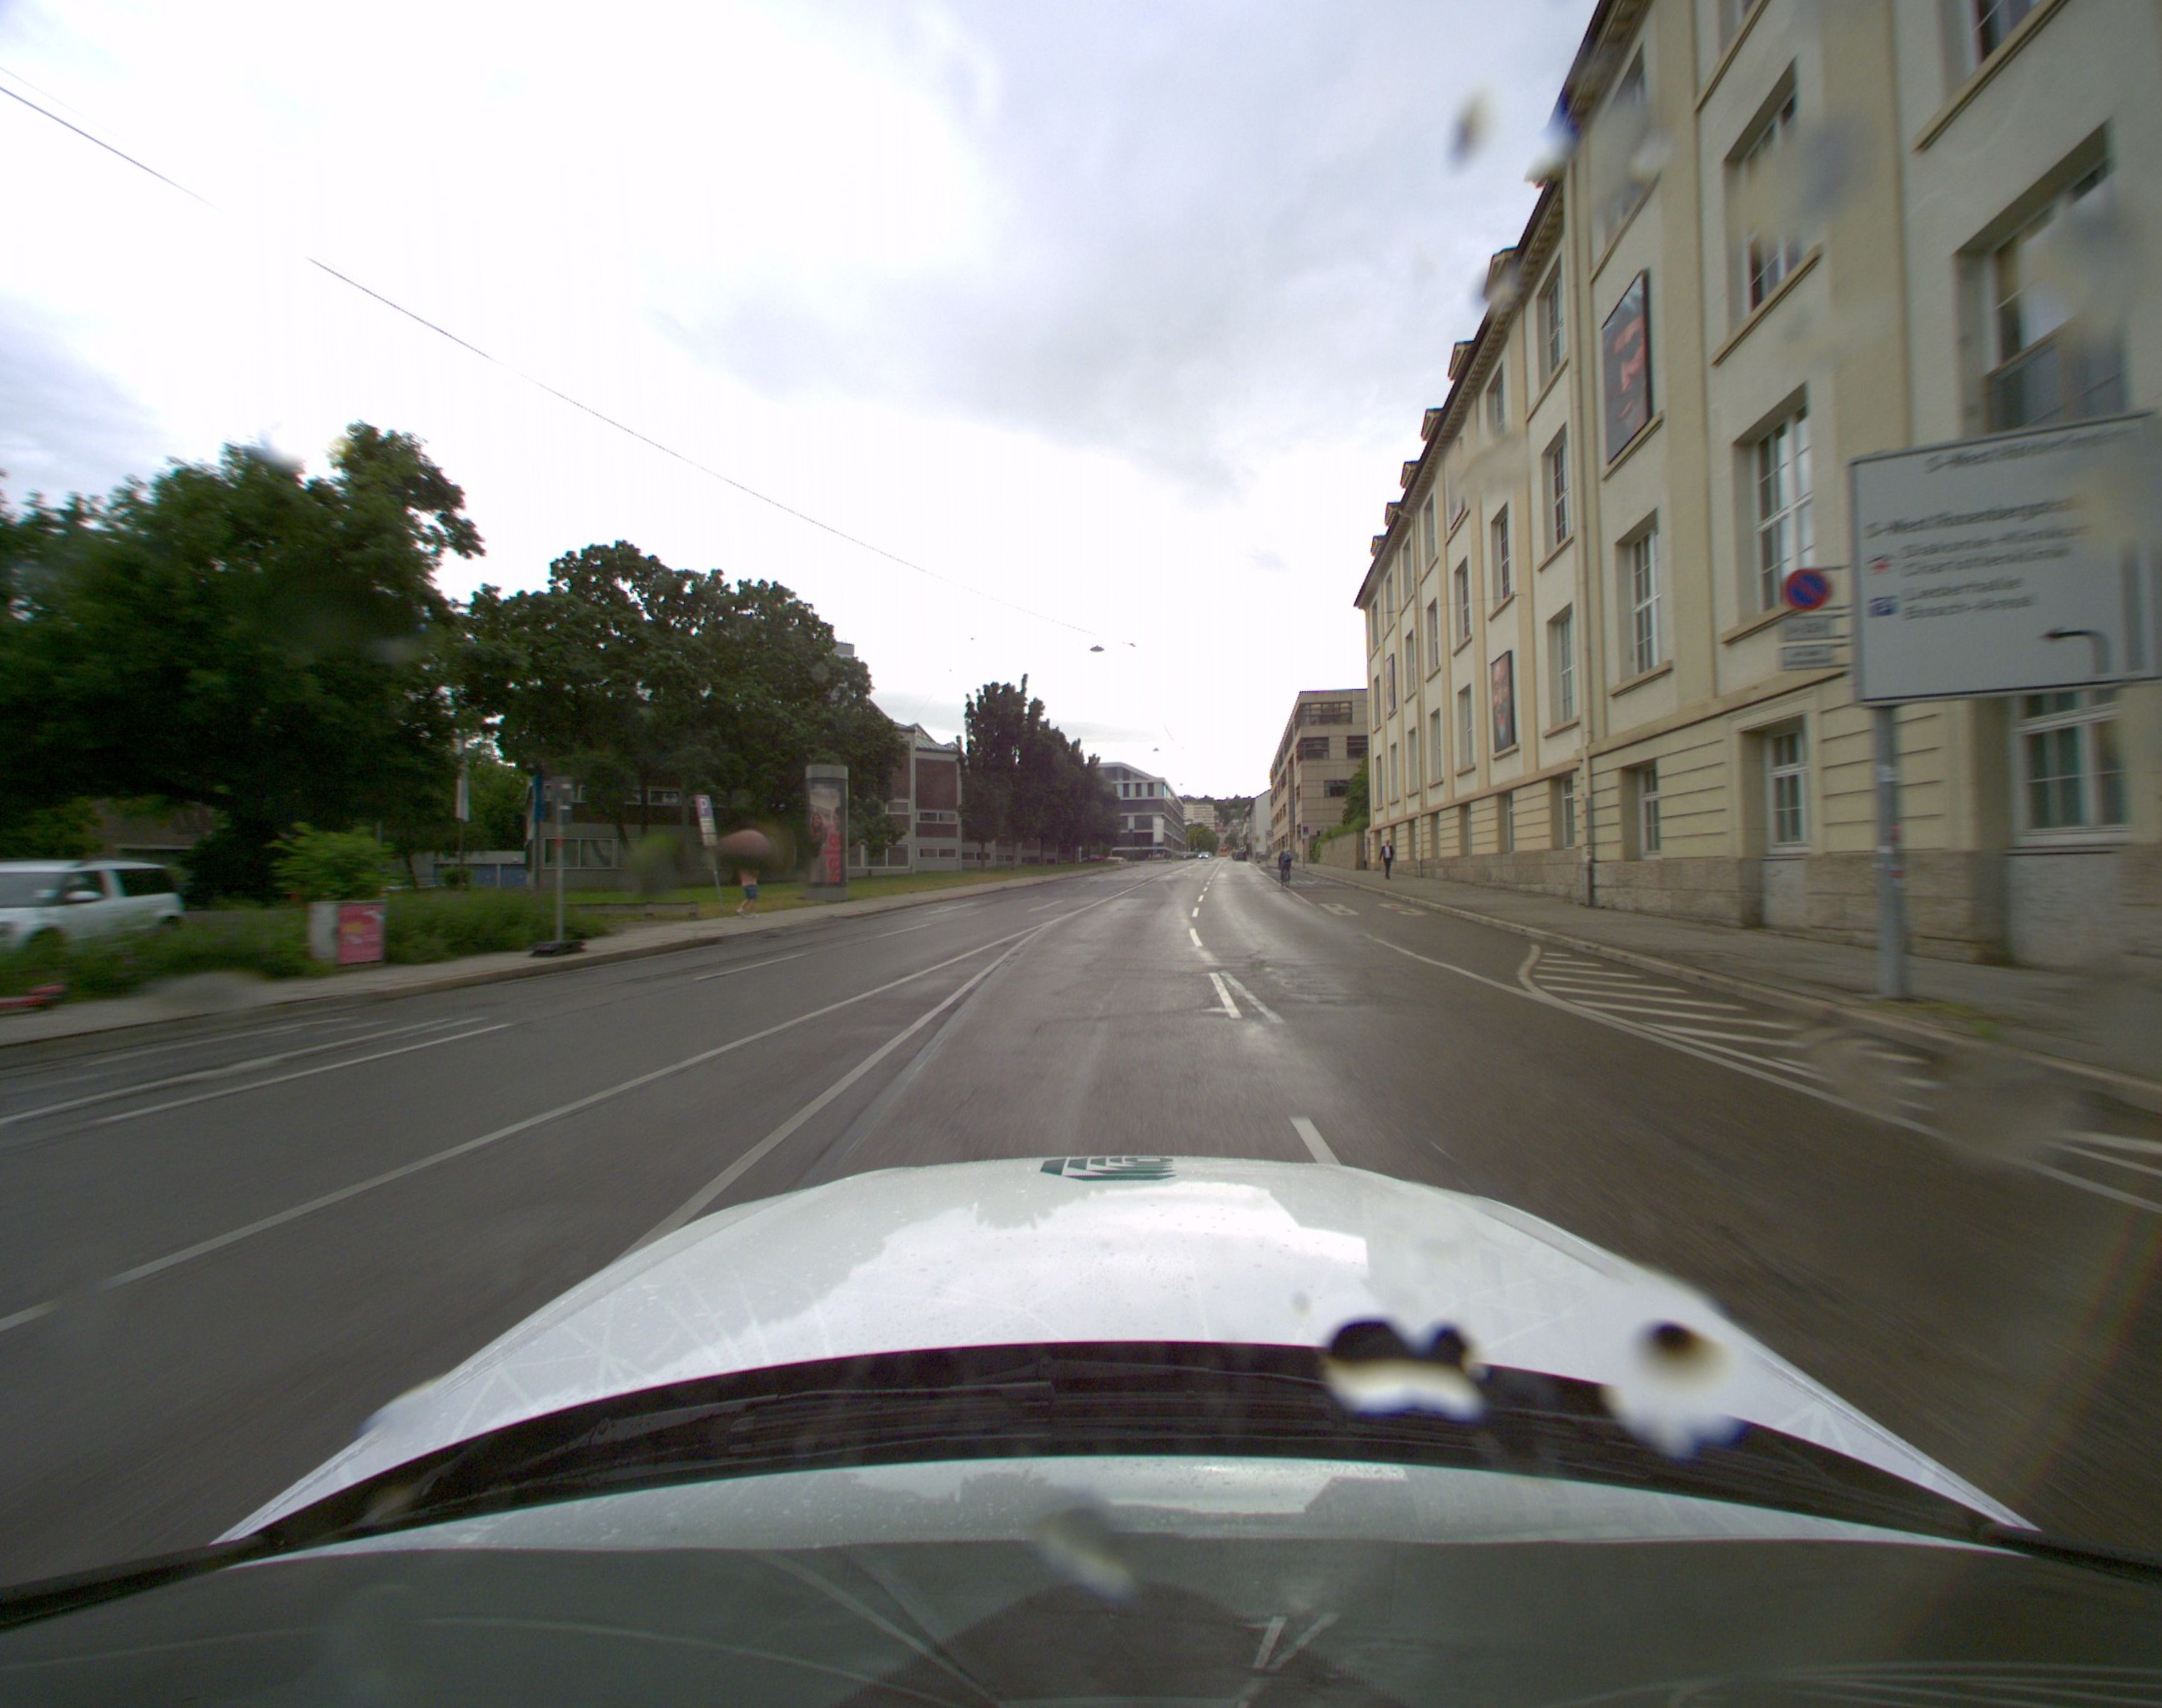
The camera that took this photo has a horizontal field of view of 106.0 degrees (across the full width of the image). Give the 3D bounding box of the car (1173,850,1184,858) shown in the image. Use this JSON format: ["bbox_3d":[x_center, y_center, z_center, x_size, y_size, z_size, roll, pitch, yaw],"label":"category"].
[{"bbox_3d":[19.274,-0.016,160.511,1.838,1.617,4.504,0,0,10],"label":"car"}]

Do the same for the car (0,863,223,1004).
[{"bbox_3d":[-14.489,0.960,11.326,1.871,1.609,4.491,0,0,-23],"label":"car"}]

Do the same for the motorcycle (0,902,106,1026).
[{"bbox_3d":[-11.537,1.177,8.735,0.511,1.247,1.271,0,0,11],"label":"motorcycle"}]

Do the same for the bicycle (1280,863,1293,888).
[{"bbox_3d":[8.505,0.893,33.739,0.444,0.963,1.696,-1,1,12],"label":"bicycle"}]

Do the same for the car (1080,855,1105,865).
[{"bbox_3d":[1.879,1.013,137.250,3.878,1.816,1.941,0,0,13],"label":"car"}]

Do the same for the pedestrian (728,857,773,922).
[{"bbox_3d":[-8.811,0.915,21.713,0.665,1.686,0.917,0,-1,17],"label":"pedestrian"}]

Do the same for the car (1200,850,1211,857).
[{"bbox_3d":[28.259,-0.115,184.709,1.869,1.491,5.238,-3,0,13],"label":"car"}]

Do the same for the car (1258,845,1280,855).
[{"bbox_3d":[39.379,-0.859,170.679,4.411,1.713,1.910,-4,-1,9],"label":"car"}]

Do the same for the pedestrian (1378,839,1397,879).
[{"bbox_3d":[13.995,0.215,37.185,0.665,1.798,0.854,0,-1,11],"label":"pedestrian"}]

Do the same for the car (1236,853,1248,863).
[{"bbox_3d":[25.833,0.662,130.851,1.760,1.604,4.405,0,0,9],"label":"car"}]

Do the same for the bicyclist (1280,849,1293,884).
[{"bbox_3d":[8.500,0.505,33.751,0.481,1.433,0.933,0,-1,12],"label":"bicyclist"}]

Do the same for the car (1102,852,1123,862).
[{"bbox_3d":[6.770,0.628,175.199,4.569,2.174,1.933,0,0,4],"label":"car"}]

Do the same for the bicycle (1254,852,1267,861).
[{"bbox_3d":[23.801,0.317,107.991,1.721,1.119,0.660,-1,-1,4],"label":"bicycle"}]
